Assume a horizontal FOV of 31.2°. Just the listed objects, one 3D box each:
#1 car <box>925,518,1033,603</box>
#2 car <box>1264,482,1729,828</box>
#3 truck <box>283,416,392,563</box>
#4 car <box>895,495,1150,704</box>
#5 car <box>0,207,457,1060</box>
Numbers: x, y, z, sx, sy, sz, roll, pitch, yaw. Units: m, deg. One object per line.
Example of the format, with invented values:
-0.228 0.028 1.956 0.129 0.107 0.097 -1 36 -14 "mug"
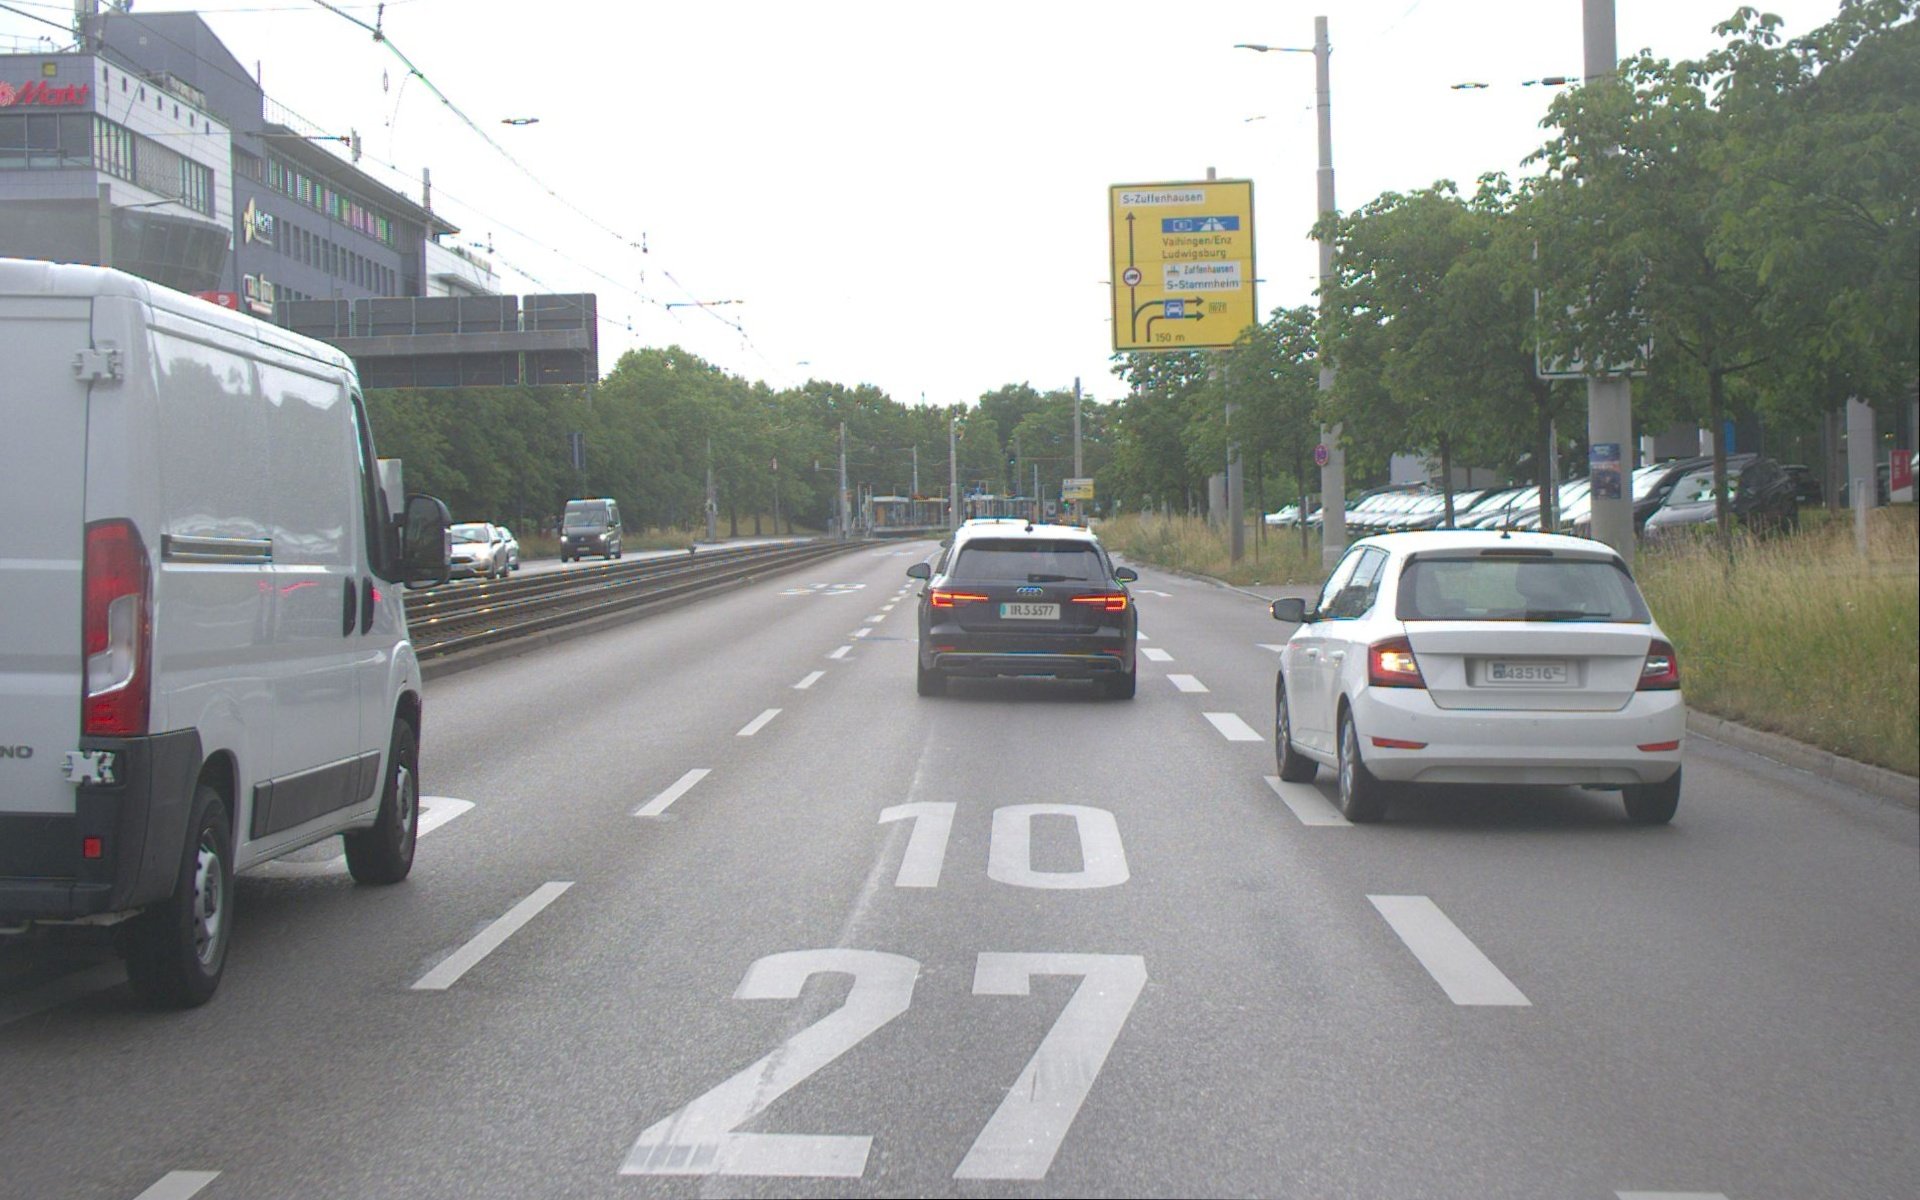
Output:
0.367 -0.710 62.516 1.894 1.460 3.909 -1 0 1 "car"
2.738 0.245 18.417 1.829 1.650 4.000 0 0 0 "car"
-16.076 -2.806 89.102 2.158 3.633 6.875 1 1 -5 "truck"
0.491 -0.020 28.980 1.993 1.631 4.000 0 0 0 "car"
-3.340 -0.010 11.729 2.445 2.286 4.905 2 2 0 "car"
